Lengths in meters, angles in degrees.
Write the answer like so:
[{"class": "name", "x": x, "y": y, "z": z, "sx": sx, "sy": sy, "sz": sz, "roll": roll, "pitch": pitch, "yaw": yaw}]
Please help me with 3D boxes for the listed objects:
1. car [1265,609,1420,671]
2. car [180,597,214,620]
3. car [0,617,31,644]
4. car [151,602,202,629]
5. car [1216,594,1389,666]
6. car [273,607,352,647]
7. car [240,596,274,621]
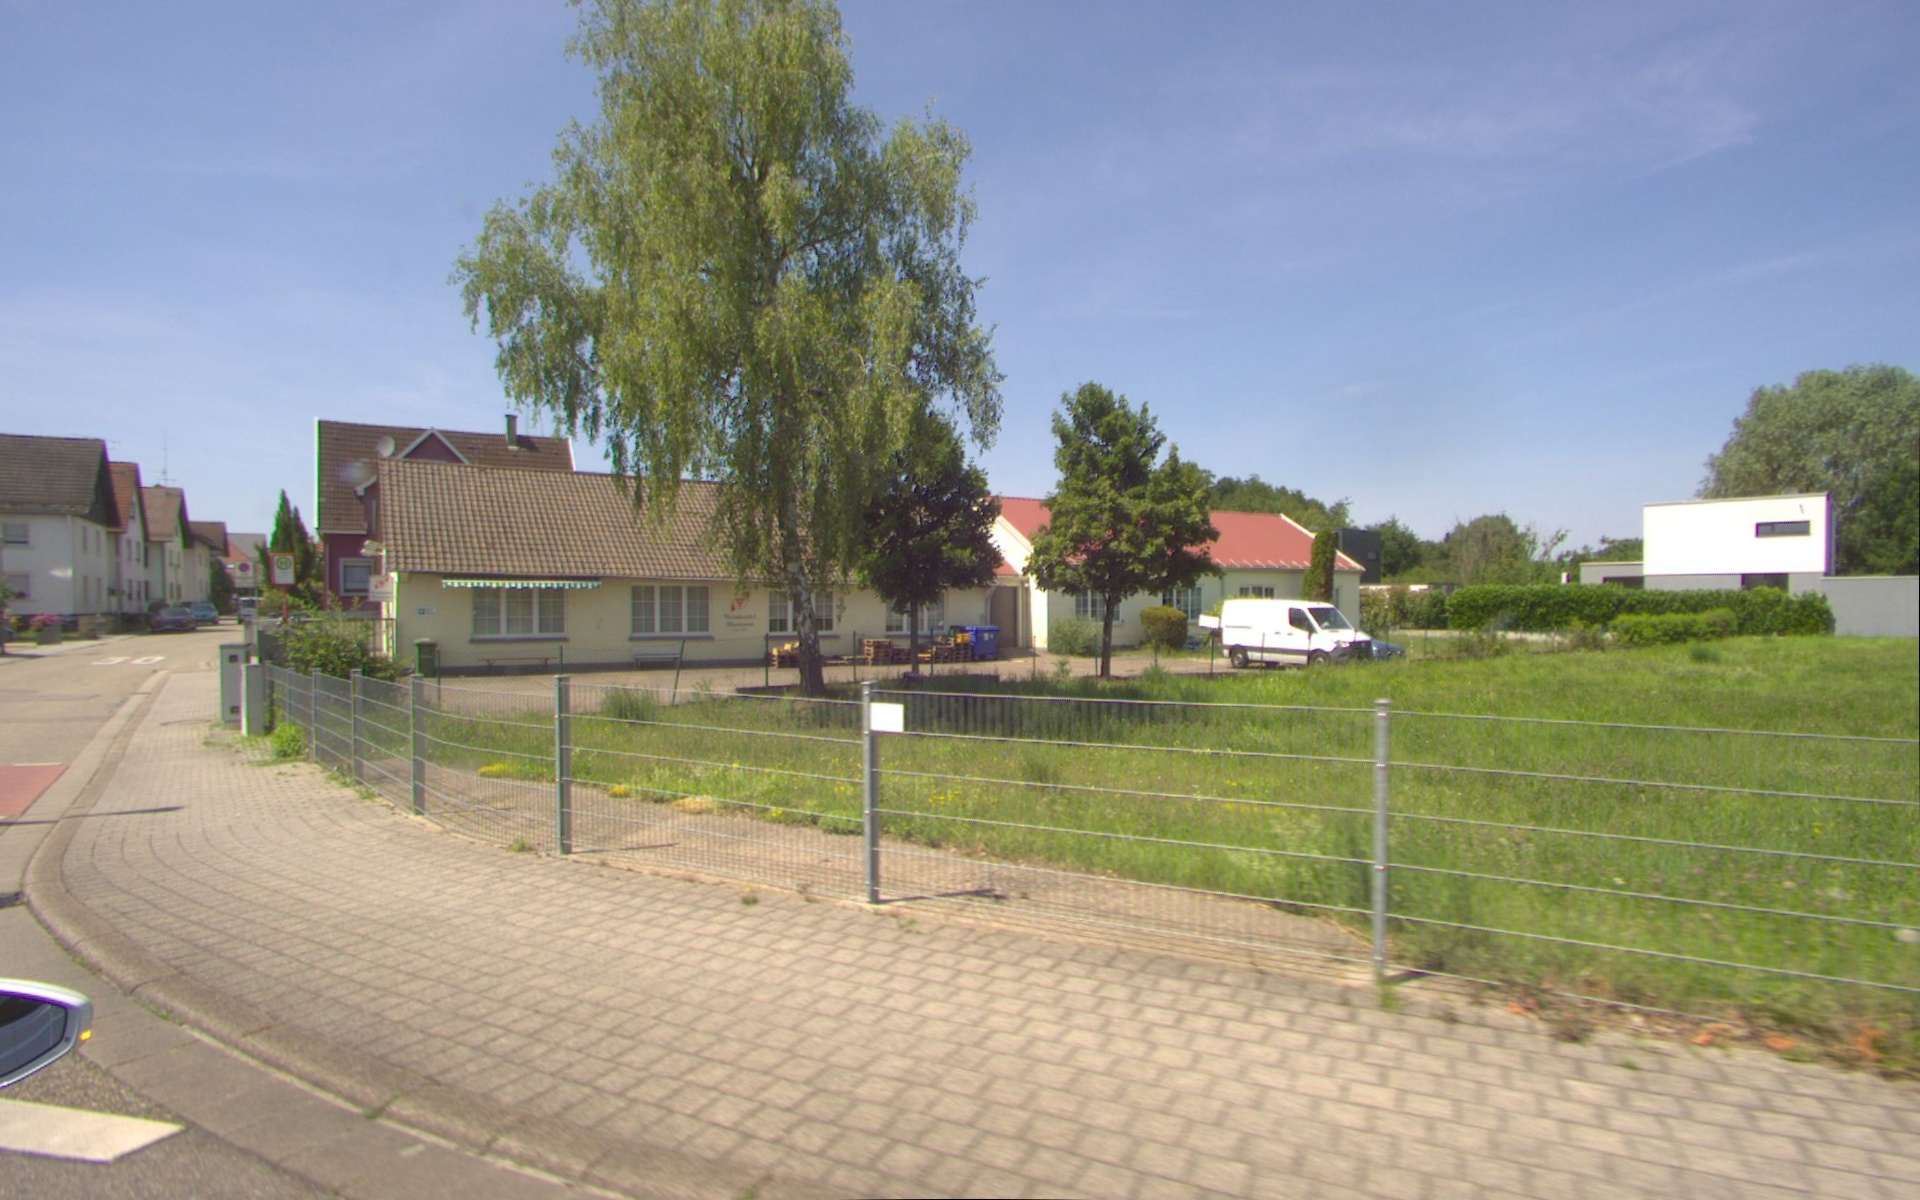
[{"class": "car", "x": 13.676, "y": 1.420, "z": 36.085, "sx": 2.043, "sy": 2.039, "sz": 4.901, "roll": 0, "pitch": -1, "yaw": -35}, {"class": "car", "x": -55.627, "y": 0.651, "z": 73.052, "sx": 1.907, "sy": 1.625, "sz": 3.970, "roll": 0, "pitch": -1, "yaw": -37}, {"class": "car", "x": -43.525, "y": 1.336, "z": 43.812, "sx": 3.949, "sy": 1.206, "sz": 1.828, "roll": 1, "pitch": 0, "yaw": -35}, {"class": "car", "x": -47.628, "y": 0.953, "z": 60.950, "sx": 1.972, "sy": 1.573, "sz": 3.978, "roll": 0, "pitch": -1, "yaw": -31}, {"class": "car", "x": 11.321, "y": 1.001, "z": 33.441, "sx": 2.188, "sy": 2.229, "sz": 5.149, "roll": 0, "pitch": -1, "yaw": -36}, {"class": "car", "x": -26.998, "y": 1.118, "z": 41.797, "sx": 2.715, "sy": 1.618, "sz": 1.165, "roll": 0, "pitch": -1, "yaw": -32}, {"class": "car", "x": -52.765, "y": 0.656, "z": 75.173, "sx": 1.832, "sy": 1.810, "sz": 3.978, "roll": 0, "pitch": -1, "yaw": -32}]
